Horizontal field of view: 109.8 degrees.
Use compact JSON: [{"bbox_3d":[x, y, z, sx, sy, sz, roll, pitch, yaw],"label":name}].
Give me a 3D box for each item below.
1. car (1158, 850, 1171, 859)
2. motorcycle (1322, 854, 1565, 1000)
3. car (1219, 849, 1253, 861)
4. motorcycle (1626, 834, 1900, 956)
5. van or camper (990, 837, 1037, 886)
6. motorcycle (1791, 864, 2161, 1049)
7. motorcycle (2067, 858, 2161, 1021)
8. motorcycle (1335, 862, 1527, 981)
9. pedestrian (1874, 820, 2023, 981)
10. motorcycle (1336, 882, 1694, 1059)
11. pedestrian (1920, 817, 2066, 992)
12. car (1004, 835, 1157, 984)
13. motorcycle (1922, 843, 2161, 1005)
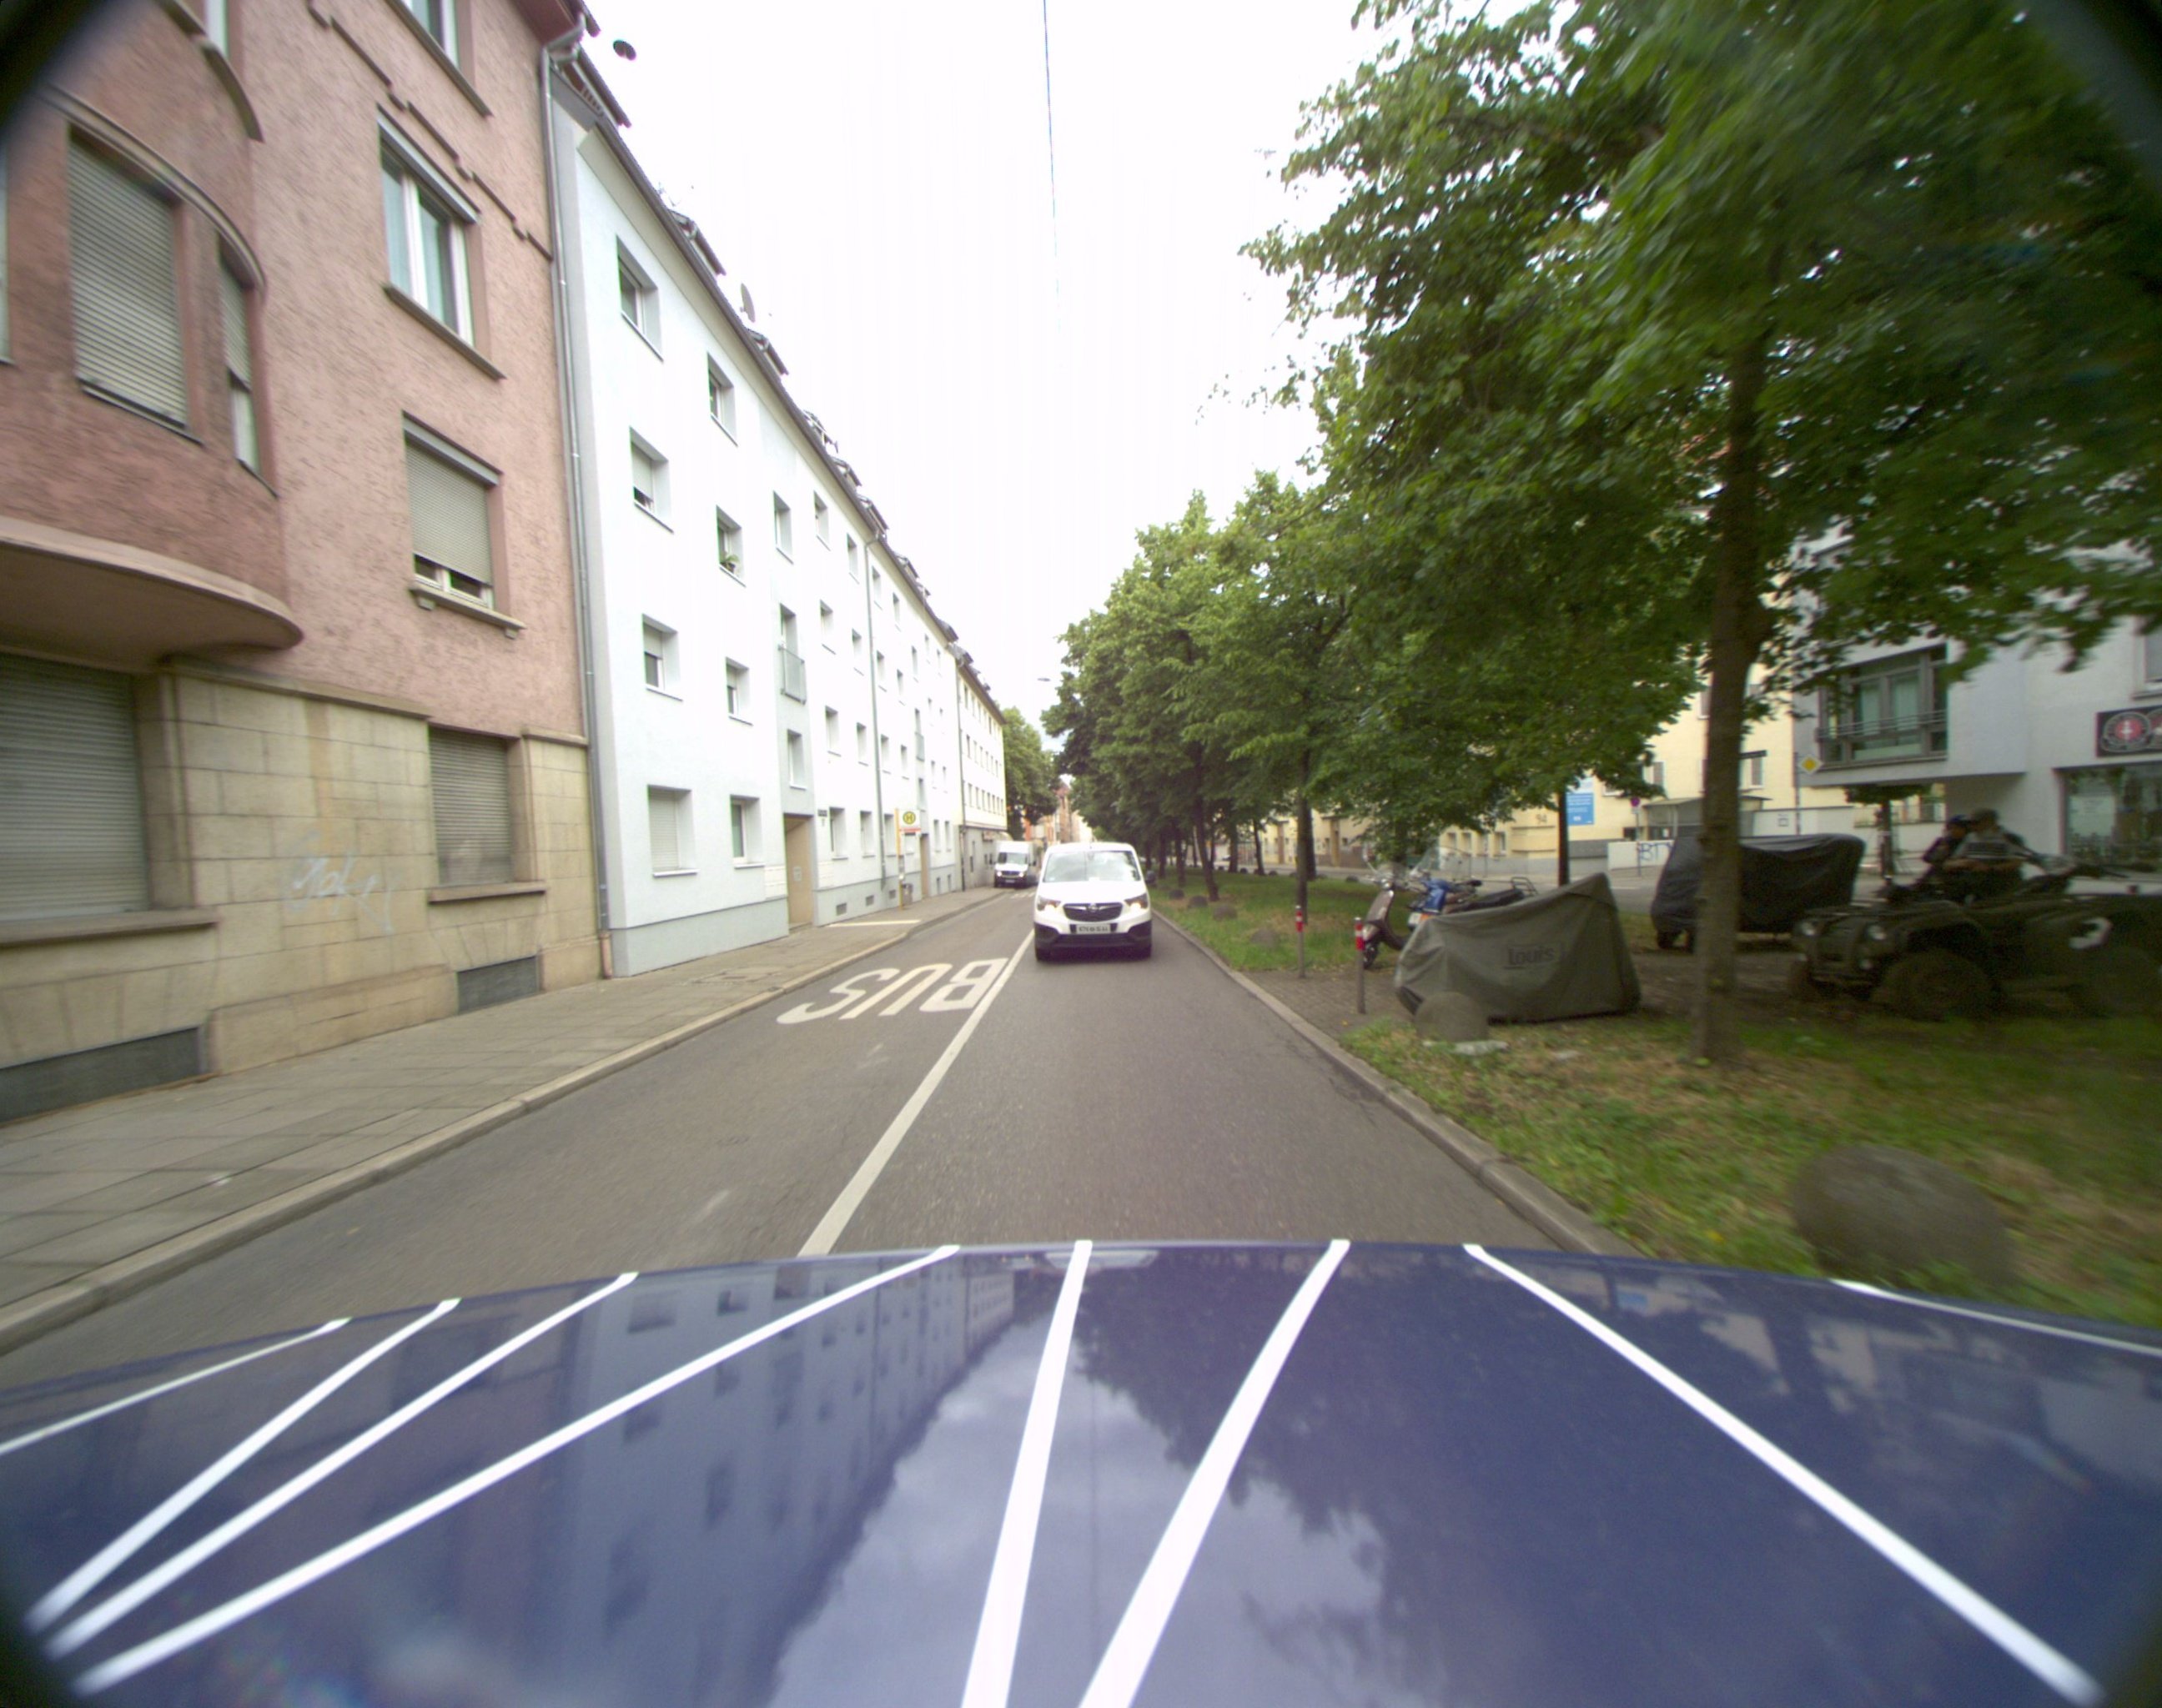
[{"bbox_3d":[16.196,0.119,147.026,1.953,1.619,4.365,-2,0,0],"label":"car"},{"bbox_3d":[3.934,0.775,8.401,2.199,1.430,0.874,-3,0,3],"label":"motorcycle"},{"bbox_3d":[21.819,0.152,106.844,4.298,1.411,2.048,-5,-1,3],"label":"car"},{"bbox_3d":[8.285,0.482,9.335,2.388,1.309,1.045,-3,0,-1],"label":"motorcycle"},{"bbox_3d":[-4.023,0.433,46.550,2.487,2.786,7.236,0,0,-2],"label":"van or camper"},{"bbox_3d":[6.855,0.732,5.734,2.033,1.228,0.897,-2,0,6],"label":"motorcycle"},{"bbox_3d":[9.379,0.631,6.150,2.115,1.228,0.516,-3,0,-1],"label":"motorcycle"},{"bbox_3d":[4.246,0.791,9.335,1.929,1.289,0.893,-2,2,-1],"label":"motorcycle"},{"bbox_3d":[9.236,0.473,8.120,0.636,1.603,0.764,-3,0,-7],"label":"pedestrian"},{"bbox_3d":[3.515,0.910,6.358,2.361,1.228,1.033,-3,-1,-1],"label":"motorcycle"},{"bbox_3d":[8.845,0.476,7.392,0.664,1.607,0.579,-3,0,-1],"label":"pedestrian"},{"bbox_3d":[0.198,0.718,11.933,1.745,1.830,4.345,-4,0,7],"label":"car"},{"bbox_3d":[8.697,0.591,6.756,1.767,1.331,0.624,-2,1,-1],"label":"motorcycle"}]
